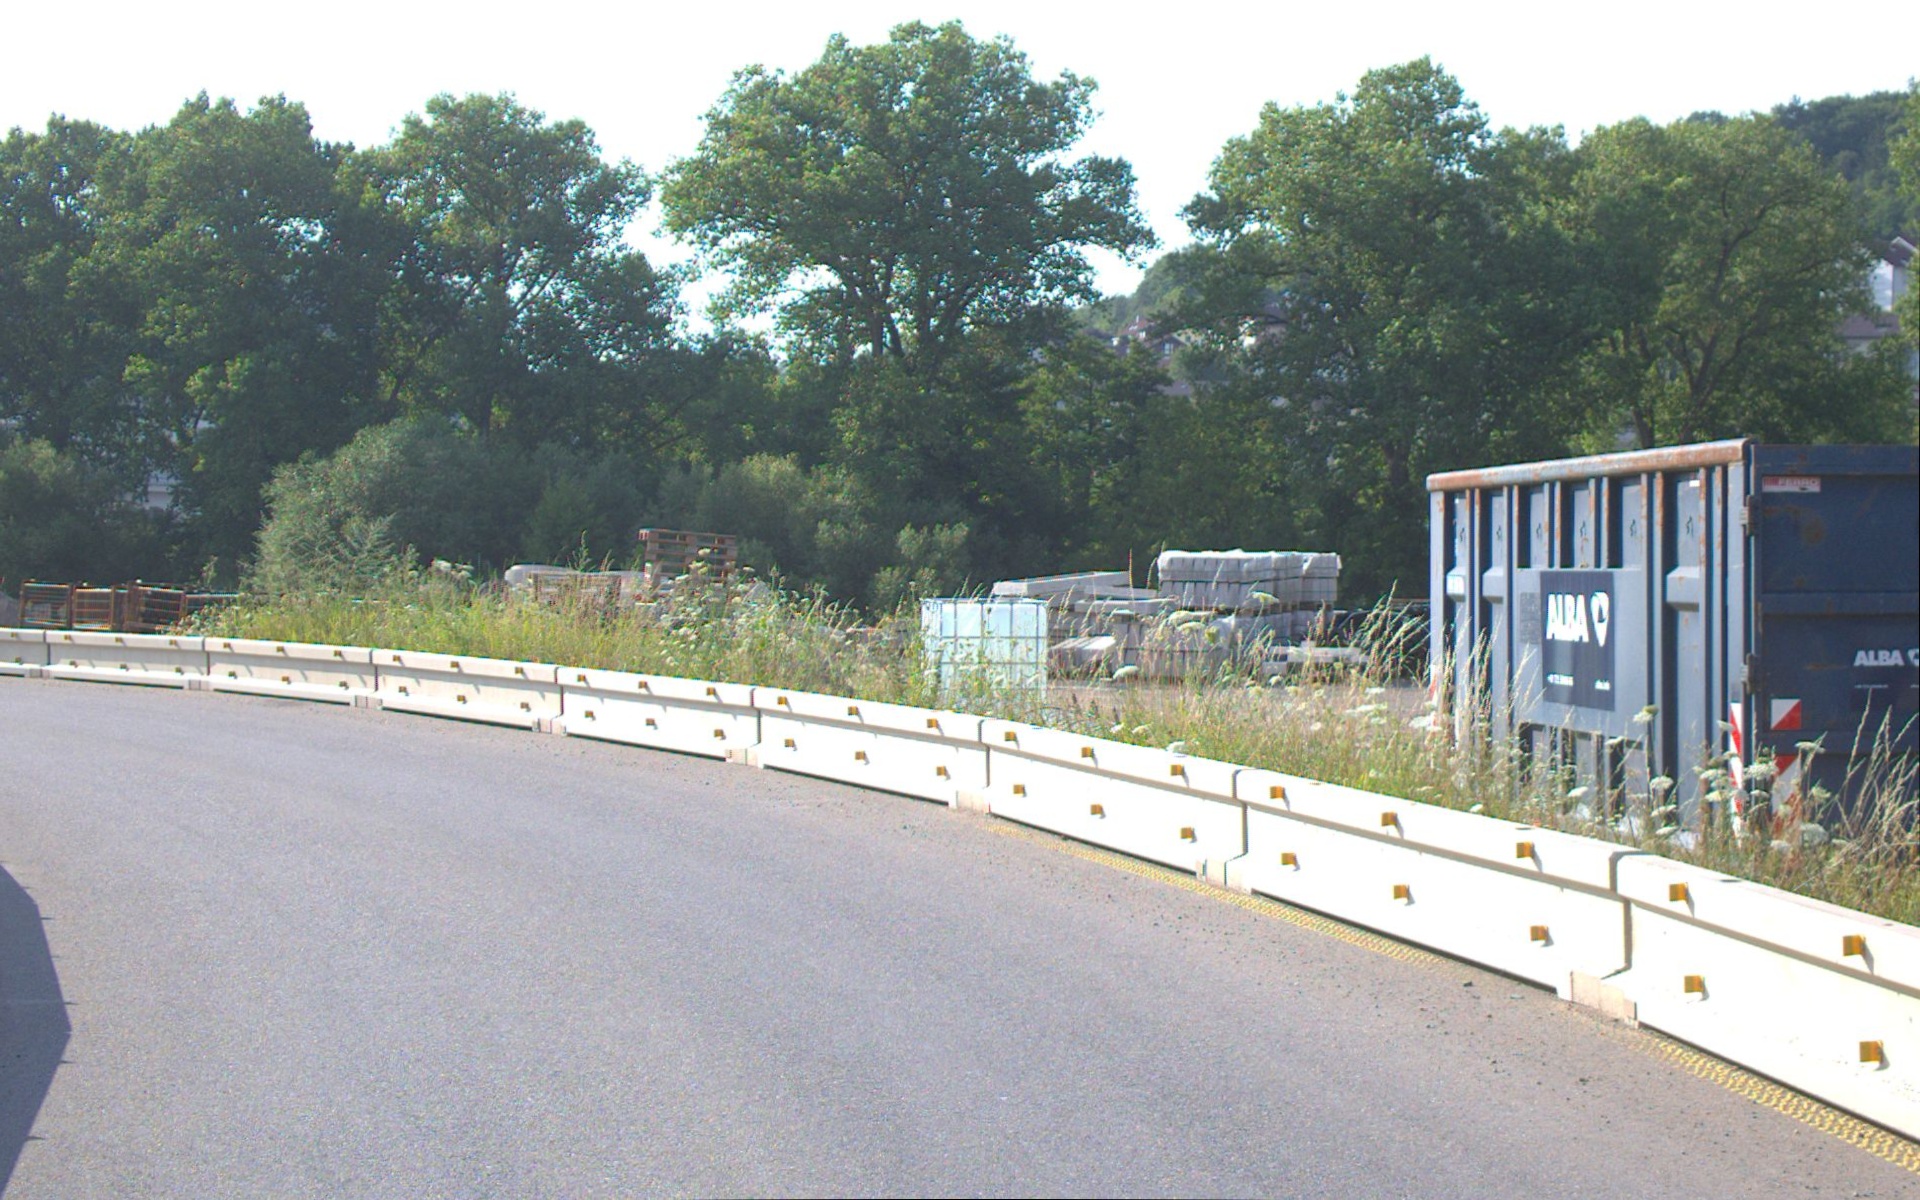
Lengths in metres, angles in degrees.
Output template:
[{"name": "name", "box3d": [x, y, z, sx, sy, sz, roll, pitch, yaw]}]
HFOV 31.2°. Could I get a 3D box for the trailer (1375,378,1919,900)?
[{"name": "trailer", "box3d": [4.711, 0.179, 19.750, 3.003, 2.406, 7.230, 2, 0, -6]}]
